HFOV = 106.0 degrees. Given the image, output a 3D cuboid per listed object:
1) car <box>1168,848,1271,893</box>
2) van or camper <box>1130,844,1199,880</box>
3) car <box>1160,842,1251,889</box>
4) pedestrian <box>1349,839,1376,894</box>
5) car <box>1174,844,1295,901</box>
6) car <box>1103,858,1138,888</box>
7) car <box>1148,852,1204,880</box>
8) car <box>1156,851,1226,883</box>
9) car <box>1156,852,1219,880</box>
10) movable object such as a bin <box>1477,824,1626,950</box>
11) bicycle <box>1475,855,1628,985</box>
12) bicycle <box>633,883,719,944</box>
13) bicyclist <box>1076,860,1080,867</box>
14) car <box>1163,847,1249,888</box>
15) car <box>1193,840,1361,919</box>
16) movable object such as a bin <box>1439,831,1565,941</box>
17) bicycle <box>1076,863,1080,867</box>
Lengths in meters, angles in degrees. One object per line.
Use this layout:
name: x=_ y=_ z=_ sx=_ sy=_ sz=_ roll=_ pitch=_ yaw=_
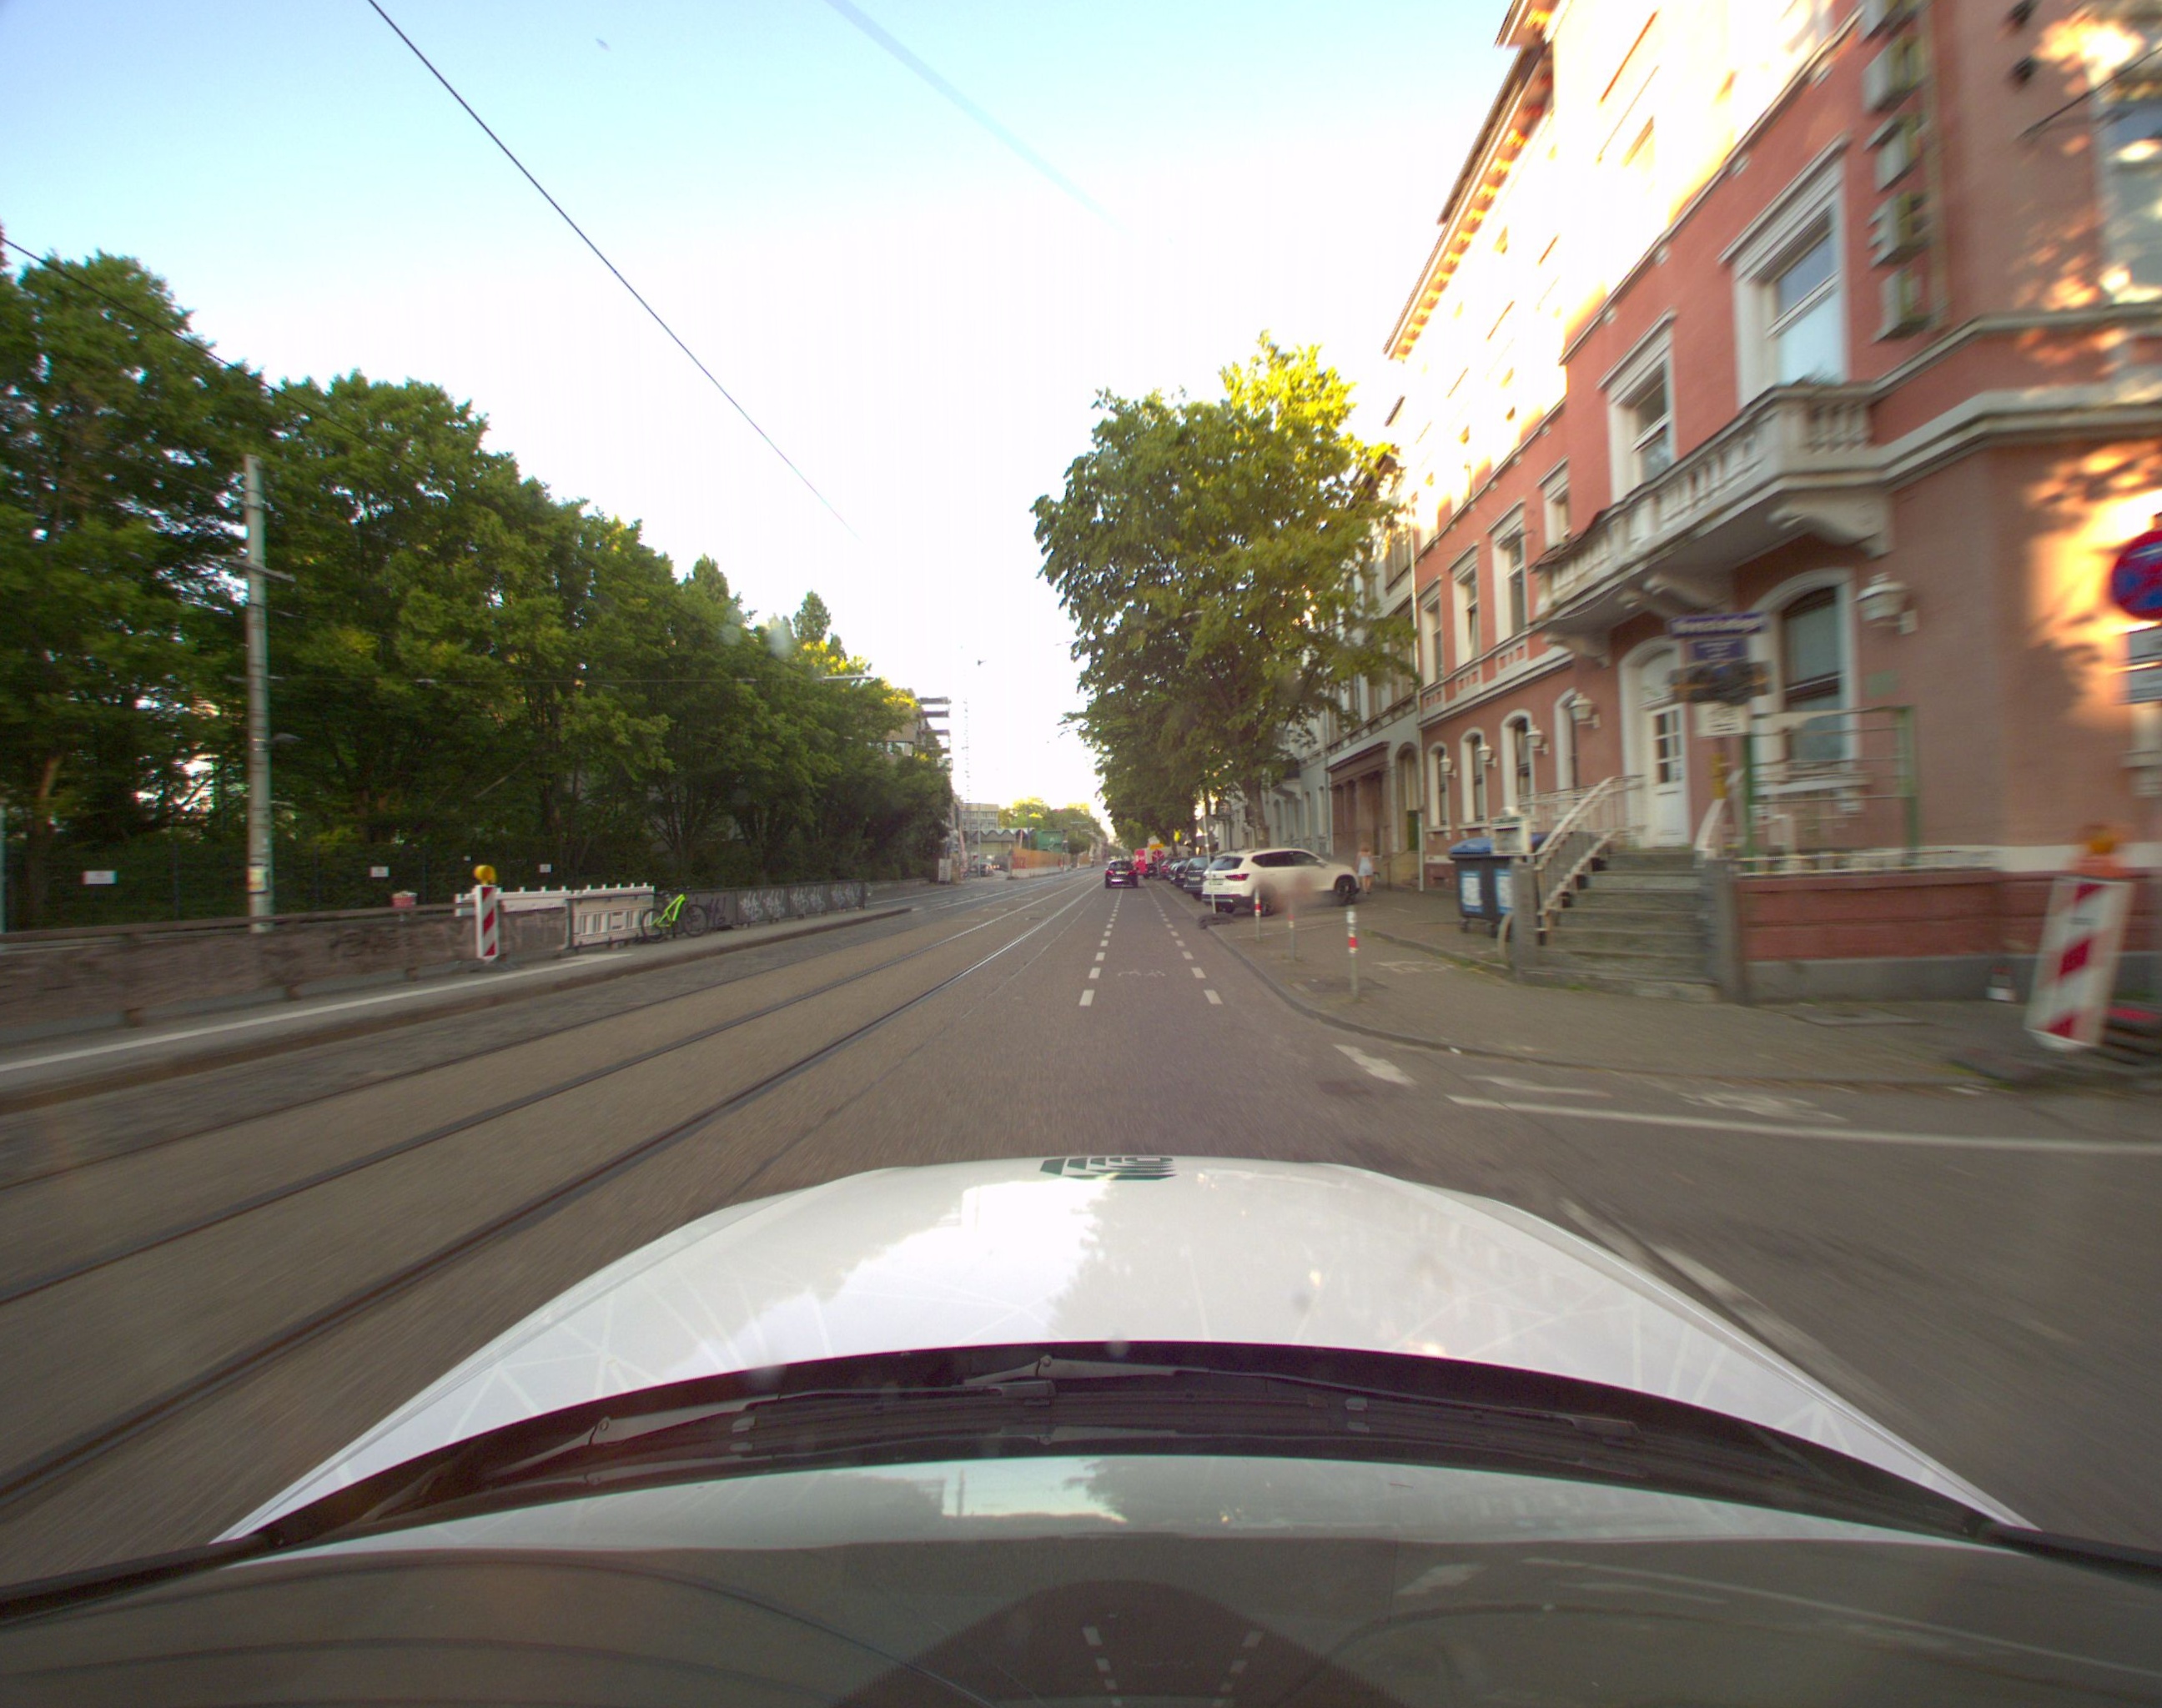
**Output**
car: x=5.924 y=0.693 z=34.739 sx=3.966 sy=1.603 sz=1.823 roll=-3 pitch=-1 yaw=-29
van or camper: x=7.160 y=0.664 z=69.289 sx=5.569 sy=2.530 sz=2.065 roll=-4 pitch=-1 yaw=-32
car: x=6.016 y=0.545 z=39.152 sx=3.972 sy=1.603 sz=1.821 roll=-9 pitch=1 yaw=-34
pedestrian: x=8.372 y=0.370 z=24.241 sx=0.584 sy=1.609 sz=0.625 roll=-2 pitch=-1 yaw=3
car: x=5.435 y=0.648 z=28.741 sx=3.973 sy=1.668 sz=1.880 roll=-4 pitch=-1 yaw=-36
car: x=2.235 y=1.051 z=46.074 sx=1.874 sy=1.620 sz=4.003 roll=1 pitch=0 yaw=3
car: x=7.592 y=0.957 z=64.954 sx=3.960 sy=1.765 sz=1.826 roll=-5 pitch=-1 yaw=-24
car: x=6.975 y=0.815 z=51.493 sx=3.966 sy=1.603 sz=1.823 roll=-5 pitch=-1 yaw=-29
car: x=7.486 y=0.871 z=57.308 sx=3.960 sy=1.603 sz=1.826 roll=-5 pitch=-1 yaw=-24
movable object such as a bin: x=6.031 y=0.402 z=10.551 sx=1.136 sy=1.502 sz=1.400 roll=-1 pitch=-1 yaw=3
bicycle: x=5.254 y=0.682 z=9.056 sx=1.925 sy=1.266 sz=0.595 roll=-2 pitch=-1 yaw=-32
bicycle: x=-8.066 y=1.155 z=16.317 sx=0.460 sy=1.075 sz=2.026 roll=-2 pitch=-1 yaw=8
bicyclist: x=-0.648 y=2.001 z=171.280 sx=0.941 sy=1.346 sz=1.111 roll=-2 pitch=-1 yaw=0
car: x=6.413 y=0.689 z=41.787 sx=3.967 sy=1.603 sz=1.823 roll=-6 pitch=0 yaw=-29
car: x=4.984 y=0.603 z=20.666 sx=3.965 sy=1.627 sz=1.659 roll=-4 pitch=0 yaw=-28
movable object such as a bin: x=6.137 y=0.448 z=11.985 sx=1.136 sy=1.502 sz=1.400 roll=-1 pitch=-1 yaw=3
bicycle: x=-0.644 y=2.252 z=172.065 sx=0.944 sy=0.849 sz=2.697 roll=-2 pitch=0 yaw=1
